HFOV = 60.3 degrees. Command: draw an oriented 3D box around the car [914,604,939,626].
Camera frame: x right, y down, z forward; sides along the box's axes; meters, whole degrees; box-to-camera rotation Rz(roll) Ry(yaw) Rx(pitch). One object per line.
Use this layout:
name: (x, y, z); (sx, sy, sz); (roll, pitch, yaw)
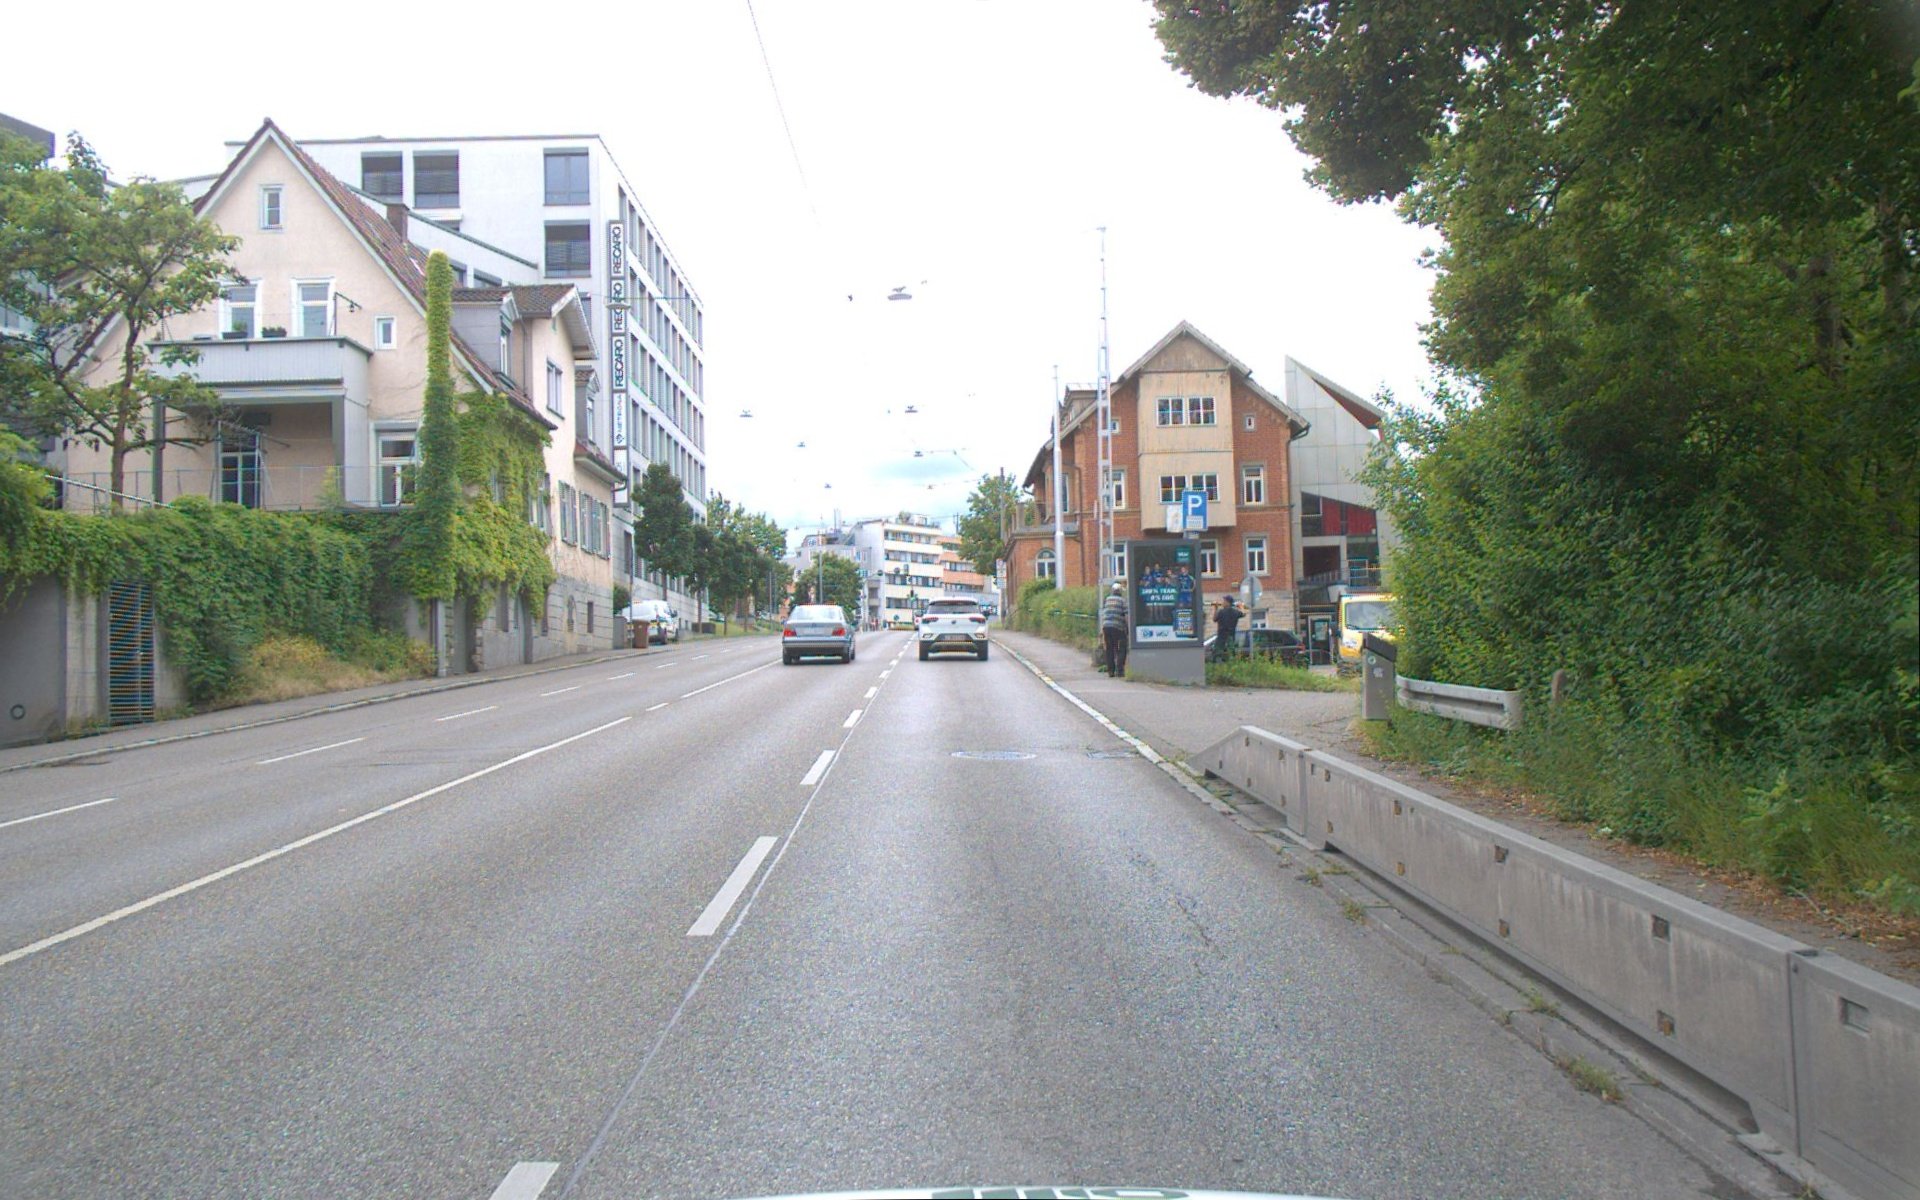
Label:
car: (-2.467, 1.099, 122.481); (1.793, 1.489, 3.999); (-1, 0, -1)

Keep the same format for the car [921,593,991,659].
car: (-0.117, 0.631, 42.244); (1.665, 1.575, 3.735); (2, 0, -1)

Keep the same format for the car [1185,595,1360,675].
car: (6.646, 0.736, 35.363); (3.415, 1.568, 1.577); (2, 0, 0)

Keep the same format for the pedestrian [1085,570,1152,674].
pedestrian: (3.003, 0.409, 31.290); (0.804, 1.917, 0.938); (-2, 0, -31)

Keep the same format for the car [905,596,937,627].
car: (-2.217, 0.653, 94.591); (1.793, 1.680, 3.999); (-1, 0, -1)

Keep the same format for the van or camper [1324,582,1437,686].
van or camper: (10.546, 0.777, 41.899); (2.169, 2.370, 6.184); (-2, 0, 10)

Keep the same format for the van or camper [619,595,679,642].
van or camper: (-13.947, 0.817, 74.476); (2.019, 2.002, 4.869); (-1, 0, -3)

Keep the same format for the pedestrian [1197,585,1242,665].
pedestrian: (5.320, 0.510, 33.863); (0.579, 1.599, 0.639); (-2, 0, -35)

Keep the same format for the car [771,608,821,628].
car: (-13.440, 1.463, 135.605); (1.751, 1.571, 3.974); (-2, -2, 43)

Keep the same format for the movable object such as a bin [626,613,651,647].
movable object such as a bin: (-11.883, 1.104, 61.186); (0.794, 1.210, 0.697); (3, -1, -7)

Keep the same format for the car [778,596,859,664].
car: (-3.397, 0.690, 40.275); (1.665, 1.542, 3.735); (-1, 0, -1)
